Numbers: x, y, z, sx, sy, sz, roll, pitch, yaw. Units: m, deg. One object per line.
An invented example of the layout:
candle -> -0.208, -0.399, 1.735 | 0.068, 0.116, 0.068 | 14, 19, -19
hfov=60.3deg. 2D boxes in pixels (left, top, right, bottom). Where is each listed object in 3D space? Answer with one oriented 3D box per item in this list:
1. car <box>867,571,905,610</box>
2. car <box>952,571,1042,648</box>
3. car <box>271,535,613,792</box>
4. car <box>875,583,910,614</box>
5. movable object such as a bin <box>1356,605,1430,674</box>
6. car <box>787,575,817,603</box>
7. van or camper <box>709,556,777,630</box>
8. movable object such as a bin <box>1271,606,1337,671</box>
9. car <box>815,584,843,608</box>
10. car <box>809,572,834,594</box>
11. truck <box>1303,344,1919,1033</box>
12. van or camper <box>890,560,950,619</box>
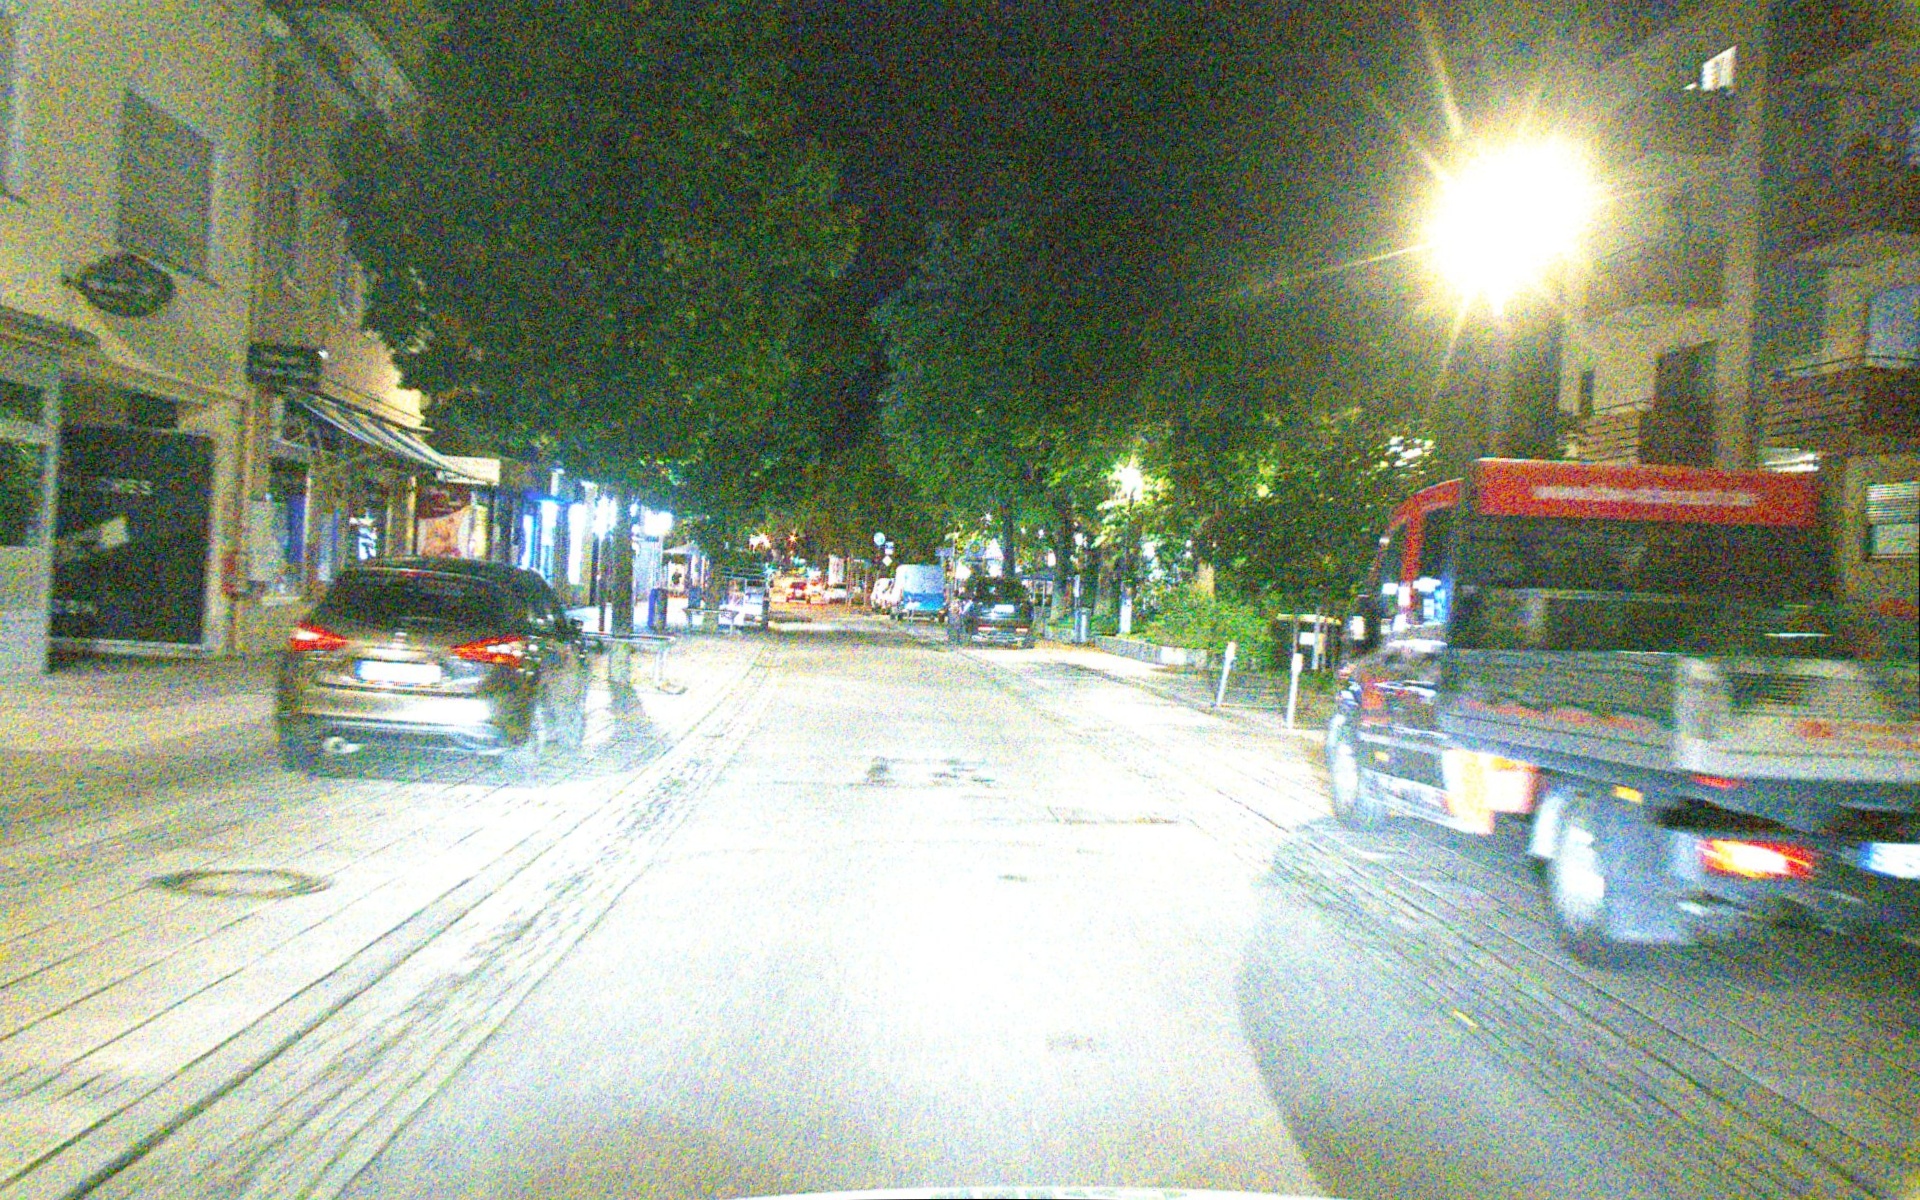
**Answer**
car -> -3.988, -0.514, 88.585 | 1.804, 1.934, 3.841 | 3, 0, -5
car -> 0.926, 0.226, 43.922 | 1.780, 1.860, 4.341 | 3, 0, -6
car -> -3.801, 0.403, 12.866 | 1.641, 1.570, 4.225 | 4, 0, -6
car -> -3.403, -0.070, 82.592 | 1.501, 1.443, 3.841 | 3, 0, -5
movable object such as a bin -> 9.473, 0.856, 36.242 | 1.236, 1.444, 1.116 | 2, 0, -5
car -> -11.482, -0.790, 119.832 | 1.956, 1.855, 3.994 | 3, 0, -7
van or camper -> -6.596, -0.227, 50.469 | 1.831, 2.045, 4.256 | 4, 0, -7
movable object such as a bin -> 7.485, 0.827, 36.022 | 1.084, 1.329, 1.009 | 4, 0, -8
car -> -9.205, -0.297, 115.960 | 1.804, 1.569, 3.841 | 3, 0, -5
car -> -12.414, -1.489, 148.012 | 1.956, 1.855, 3.994 | 3, 0, -7
truck -> 3.612, 0.321, 8.637 | 2.289, 2.352, 5.779 | 2, 0, -1
van or camper -> -1.720, -0.446, 69.882 | 2.068, 2.357, 4.256 | 2, 0, -7
